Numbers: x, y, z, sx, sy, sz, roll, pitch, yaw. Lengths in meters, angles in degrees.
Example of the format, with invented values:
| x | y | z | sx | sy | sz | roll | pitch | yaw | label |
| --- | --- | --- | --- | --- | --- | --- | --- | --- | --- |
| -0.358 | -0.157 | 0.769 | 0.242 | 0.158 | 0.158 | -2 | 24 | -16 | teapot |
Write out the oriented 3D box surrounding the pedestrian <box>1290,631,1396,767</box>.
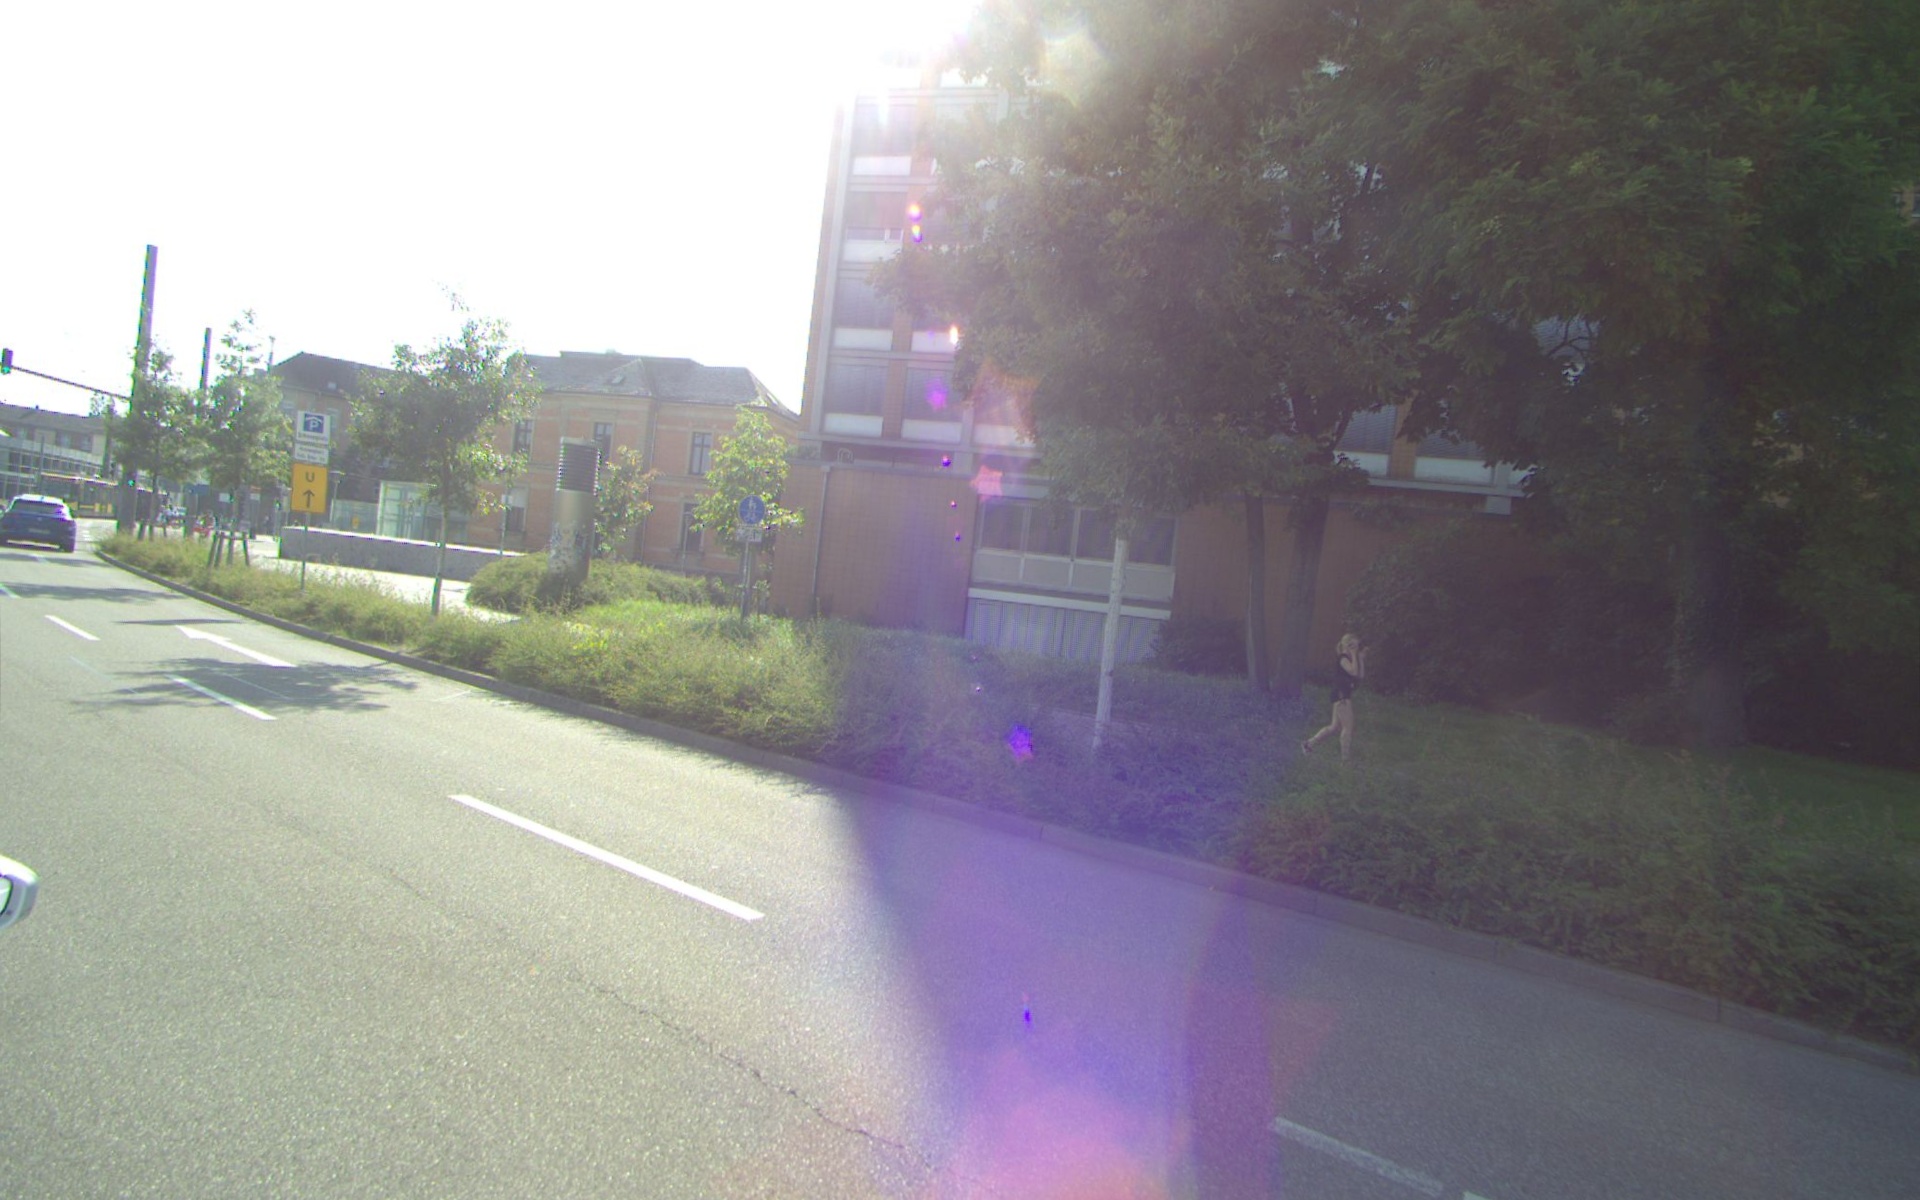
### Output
| x | y | z | sx | sy | sz | roll | pitch | yaw | label |
| --- | --- | --- | --- | --- | --- | --- | --- | --- | --- |
| 4.542 | 1.154 | 11.932 | 0.845 | 1.461 | 0.723 | 7 | 1 | 41 | pedestrian |

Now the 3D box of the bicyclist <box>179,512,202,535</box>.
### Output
| x | y | z | sx | sy | sz | roll | pitch | yaw | label |
| --- | --- | --- | --- | --- | --- | --- | --- | --- | --- |
| -63.803 | -6.368 | 83.385 | 1.073 | 1.701 | 0.937 | 7 | 1 | 20 | bicyclist |

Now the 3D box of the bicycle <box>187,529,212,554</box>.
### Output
| x | y | z | sx | sy | sz | roll | pitch | yaw | label |
| --- | --- | --- | --- | --- | --- | --- | --- | --- | --- |
| -32.950 | -2.547 | 43.589 | 0.715 | 0.972 | 1.903 | 6 | 0 | -35 | bicycle |

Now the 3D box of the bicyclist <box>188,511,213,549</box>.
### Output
| x | y | z | sx | sy | sz | roll | pitch | yaw | label |
| --- | --- | --- | --- | --- | --- | --- | --- | --- | --- |
| -32.937 | -3.029 | 43.644 | 0.715 | 1.532 | 0.995 | 6 | 1 | -35 | bicyclist |

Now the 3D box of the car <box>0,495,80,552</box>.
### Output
| x | y | z | sx | sy | sz | roll | pitch | yaw | label |
| --- | --- | --- | --- | --- | --- | --- | --- | --- | --- |
| -29.441 | -2.472 | 31.941 | 4.353 | 1.446 | 1.821 | 7 | 1 | 44 | car |

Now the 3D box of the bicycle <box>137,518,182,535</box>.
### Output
| x | y | z | sx | sy | sz | roll | pitch | yaw | label |
| --- | --- | --- | --- | --- | --- | --- | --- | --- | --- |
| -64.277 | -5.917 | 80.827 | 1.073 | 0.976 | 2.626 | 7 | 0 | 20 | bicycle |

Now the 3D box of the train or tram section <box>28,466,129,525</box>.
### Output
| x | y | z | sx | sy | sz | roll | pitch | yaw | label |
| --- | --- | --- | --- | --- | --- | --- | --- | --- | --- |
| -68.319 | -7.984 | 78.261 | 2.629 | 3.746 | 10.525 | 6 | 0 | -24 | train or tram section |

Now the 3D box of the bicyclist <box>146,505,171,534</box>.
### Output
| x | y | z | sx | sy | sz | roll | pitch | yaw | label |
| --- | --- | --- | --- | --- | --- | --- | --- | --- | --- |
| -62.892 | -6.322 | 78.923 | 1.072 | 2.050 | 0.937 | 7 | 1 | 7 | bicyclist |

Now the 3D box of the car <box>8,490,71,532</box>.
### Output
| x | y | z | sx | sy | sz | roll | pitch | yaw | label |
| --- | --- | --- | --- | --- | --- | --- | --- | --- | --- |
| -38.867 | -3.757 | 42.483 | 1.819 | 1.446 | 4.358 | 6 | 1 | -43 | car |

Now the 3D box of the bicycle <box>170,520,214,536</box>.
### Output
| x | y | z | sx | sy | sz | roll | pitch | yaw | label |
| --- | --- | --- | --- | --- | --- | --- | --- | --- | --- |
| -63.786 | -5.991 | 83.578 | 1.073 | 0.976 | 2.626 | 7 | 0 | 20 | bicycle |

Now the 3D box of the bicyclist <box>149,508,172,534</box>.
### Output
| x | y | z | sx | sy | sz | roll | pitch | yaw | label |
| --- | --- | --- | --- | --- | --- | --- | --- | --- | --- |
| -64.231 | -6.342 | 80.802 | 1.073 | 1.822 | 0.936 | 7 | 1 | 20 | bicyclist |
